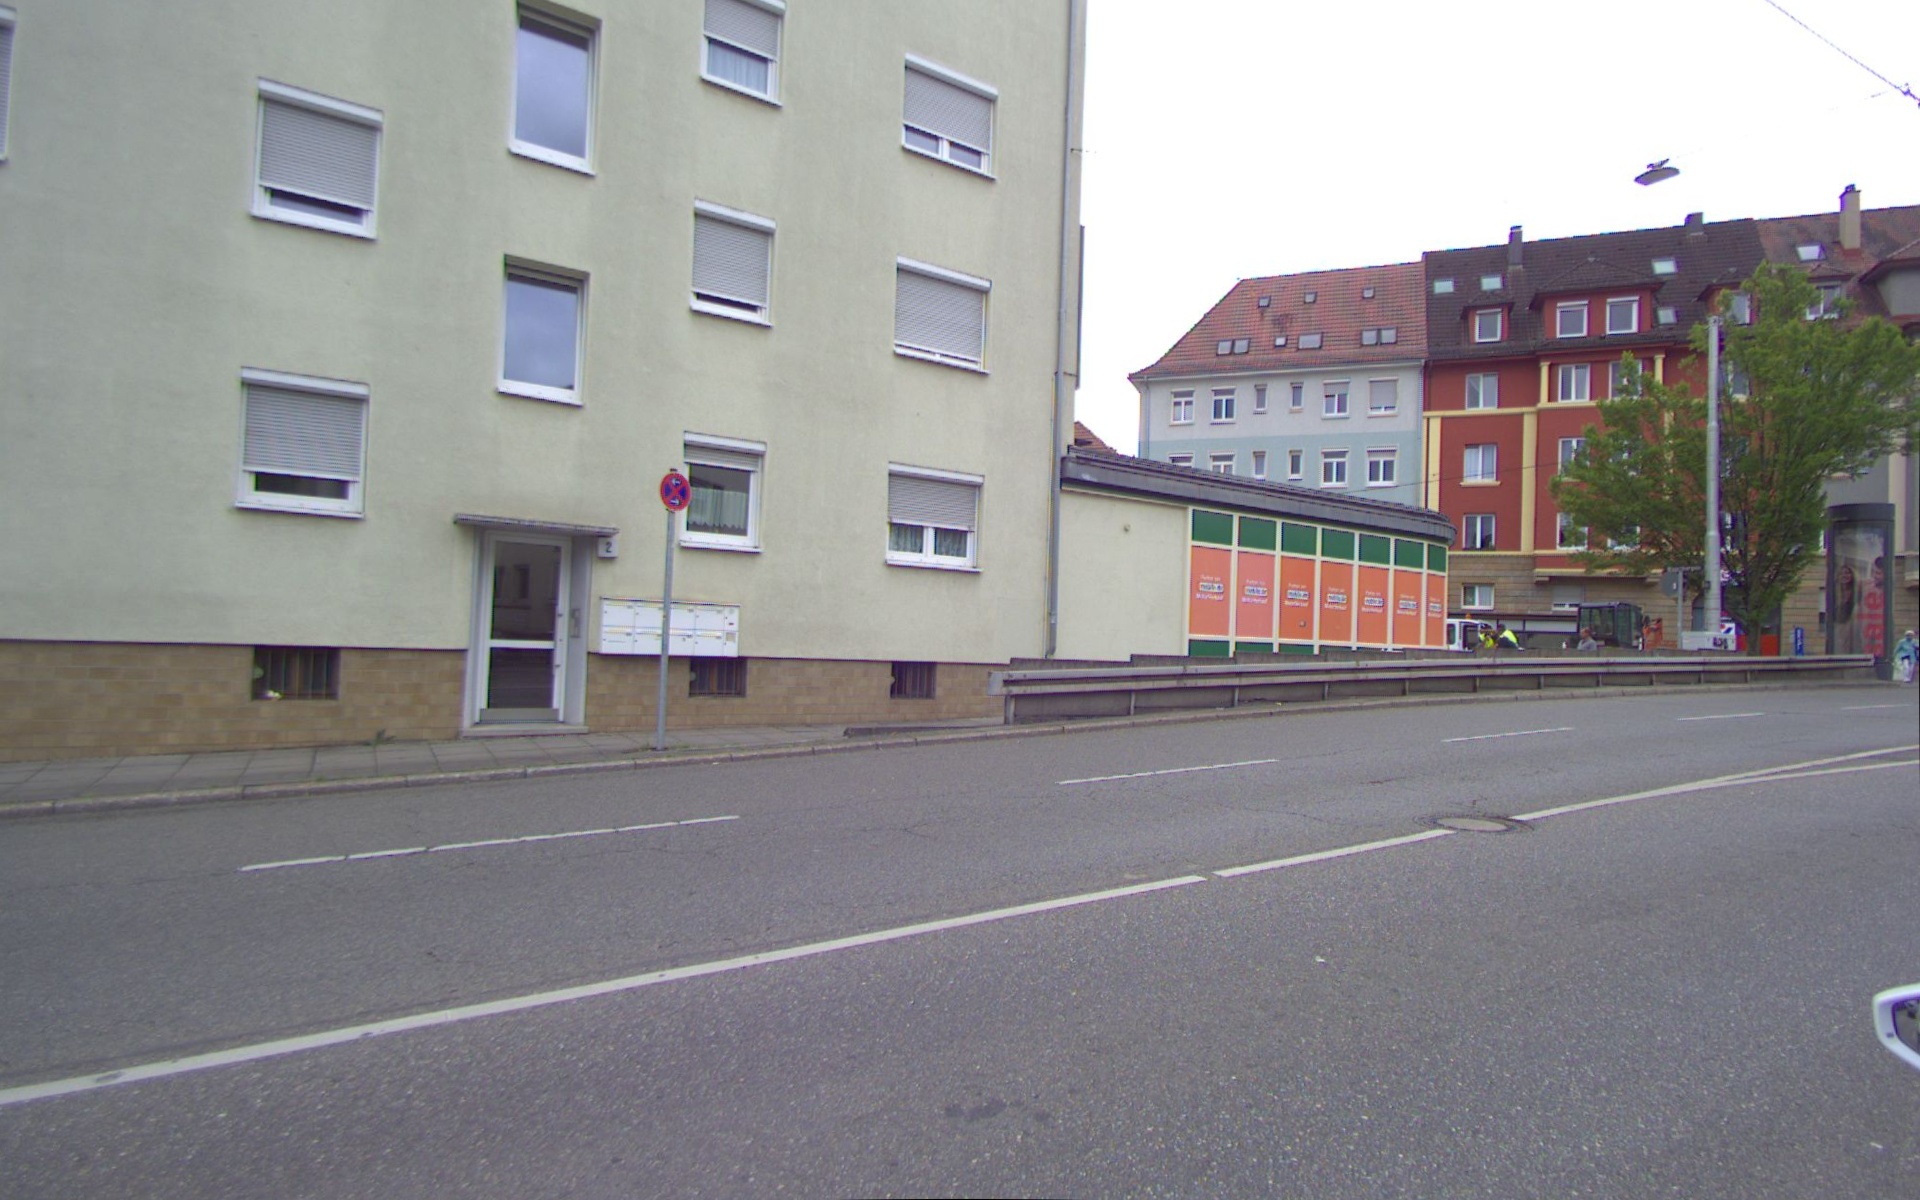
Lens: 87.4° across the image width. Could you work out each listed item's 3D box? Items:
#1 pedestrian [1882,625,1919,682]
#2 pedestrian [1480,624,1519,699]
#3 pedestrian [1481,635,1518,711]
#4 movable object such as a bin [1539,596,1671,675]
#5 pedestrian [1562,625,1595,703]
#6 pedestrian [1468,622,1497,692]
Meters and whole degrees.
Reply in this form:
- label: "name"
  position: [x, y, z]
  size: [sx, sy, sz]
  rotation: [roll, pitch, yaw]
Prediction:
- label: "pedestrian"
  position: [26.896, 1.520, 28.730]
  size: [0.480, 1.588, 0.586]
  rotation: [2, 1, -30]
- label: "pedestrian"
  position: [13.340, 1.516, 24.847]
  size: [0.605, 1.785, 0.573]
  rotation: [2, 1, 5]
- label: "pedestrian"
  position: [12.665, 1.695, 23.592]
  size: [0.539, 1.722, 0.557]
  rotation: [1, 1, -41]
- label: "movable object such as a bin"
  position: [16.485, 0.877, 25.616]
  size: [3.972, 1.795, 1.884]
  rotation: [1, 1, -43]
- label: "pedestrian"
  position: [14.367, 1.478, 23.352]
  size: [0.533, 1.753, 0.593]
  rotation: [3, 1, 26]
- label: "pedestrian"
  position: [13.466, 1.453, 25.891]
  size: [0.467, 1.753, 0.543]
  rotation: [2, 1, 14]
